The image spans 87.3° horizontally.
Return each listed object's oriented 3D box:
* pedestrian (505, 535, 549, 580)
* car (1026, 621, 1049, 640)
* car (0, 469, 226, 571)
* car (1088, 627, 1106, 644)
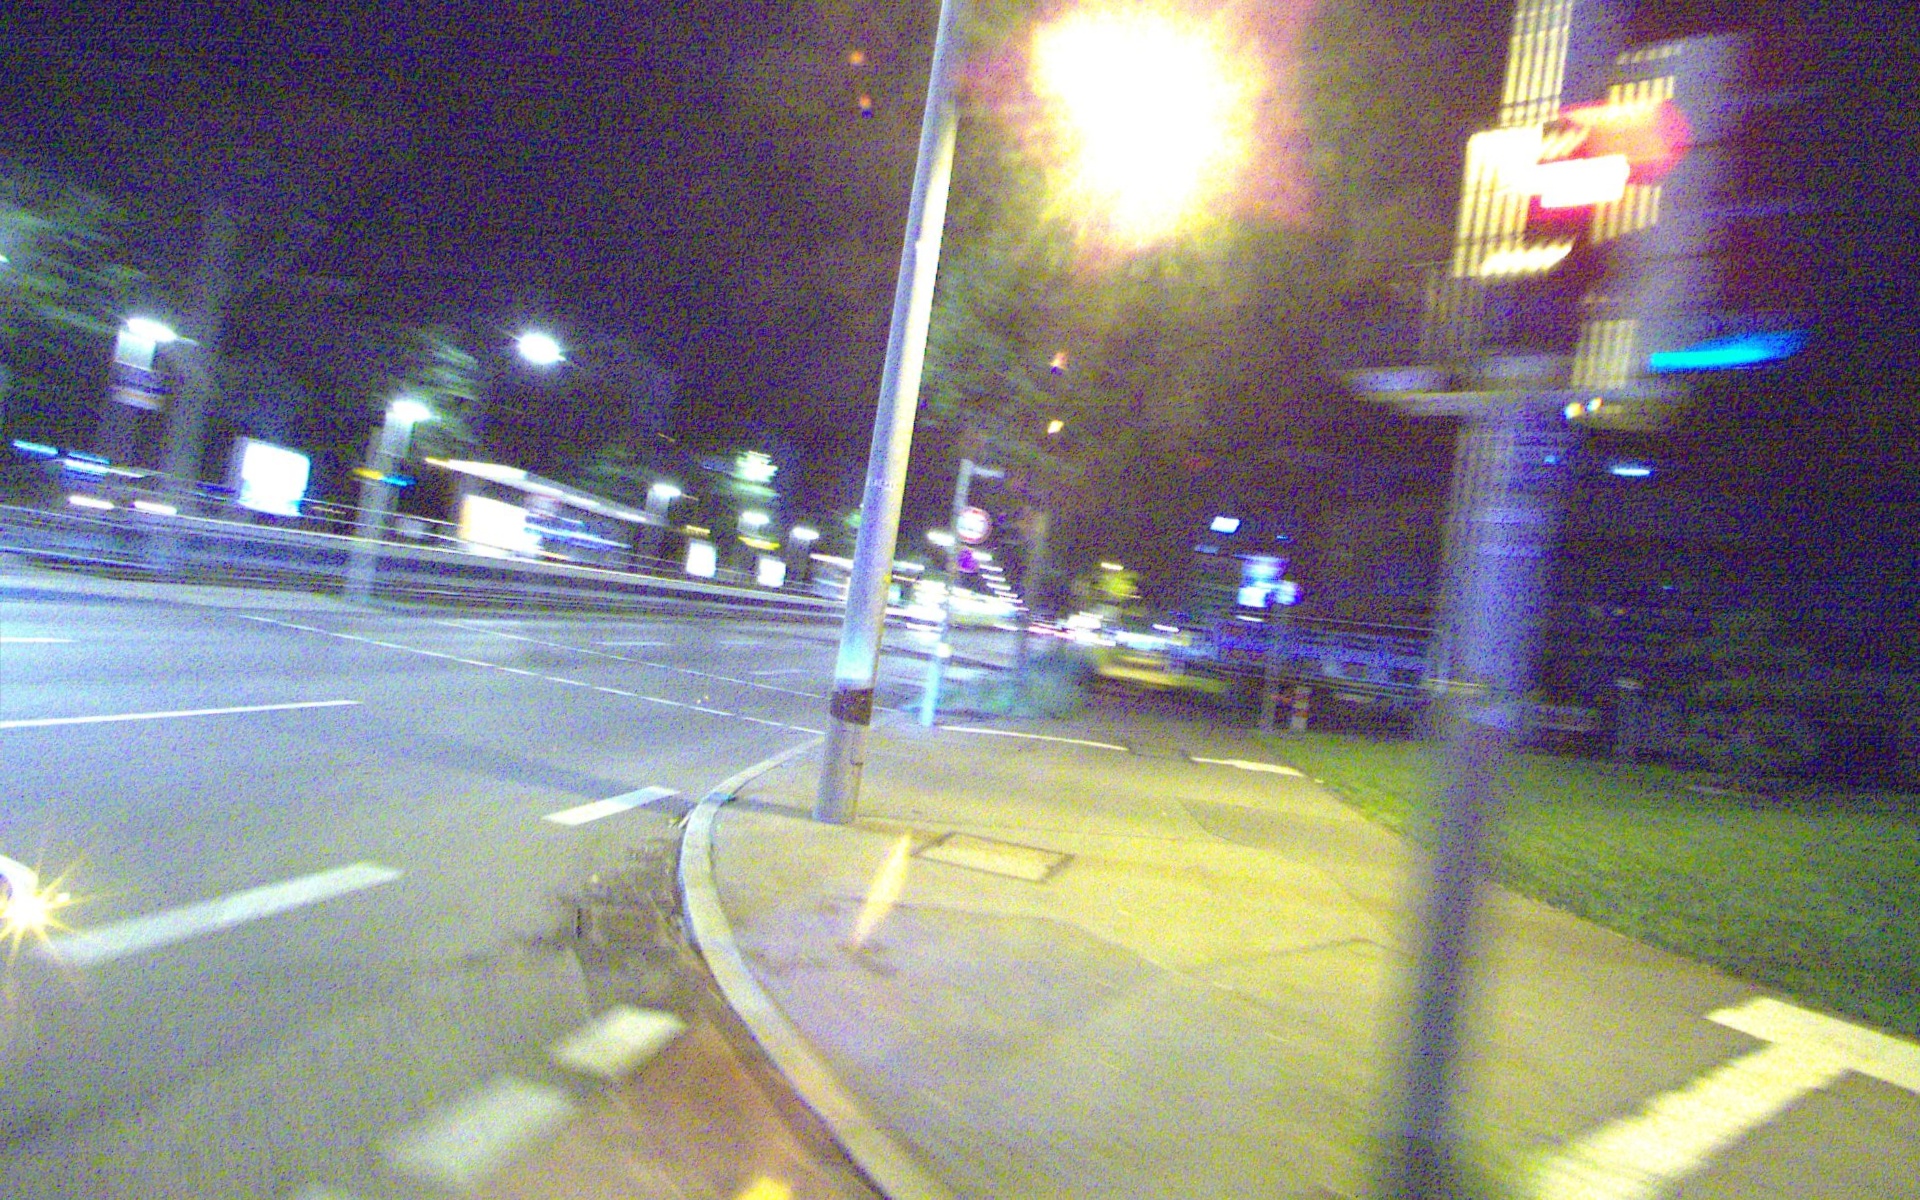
[{"bbox_3d":[-16.441,-1.626,38.195,1.138,1.518,1.064,7,0,-42],"label":"pedestrian"},{"bbox_3d":[8.705,3.424,112.997,1.829,1.678,4.465,10,-1,11],"label":"car"},{"bbox_3d":[-21.521,-1.952,25.731,1.962,2.039,4.000,7,1,13],"label":"car"},{"bbox_3d":[16.620,4.304,121.903,1.776,1.683,4.000,11,1,9],"label":"car"}]
